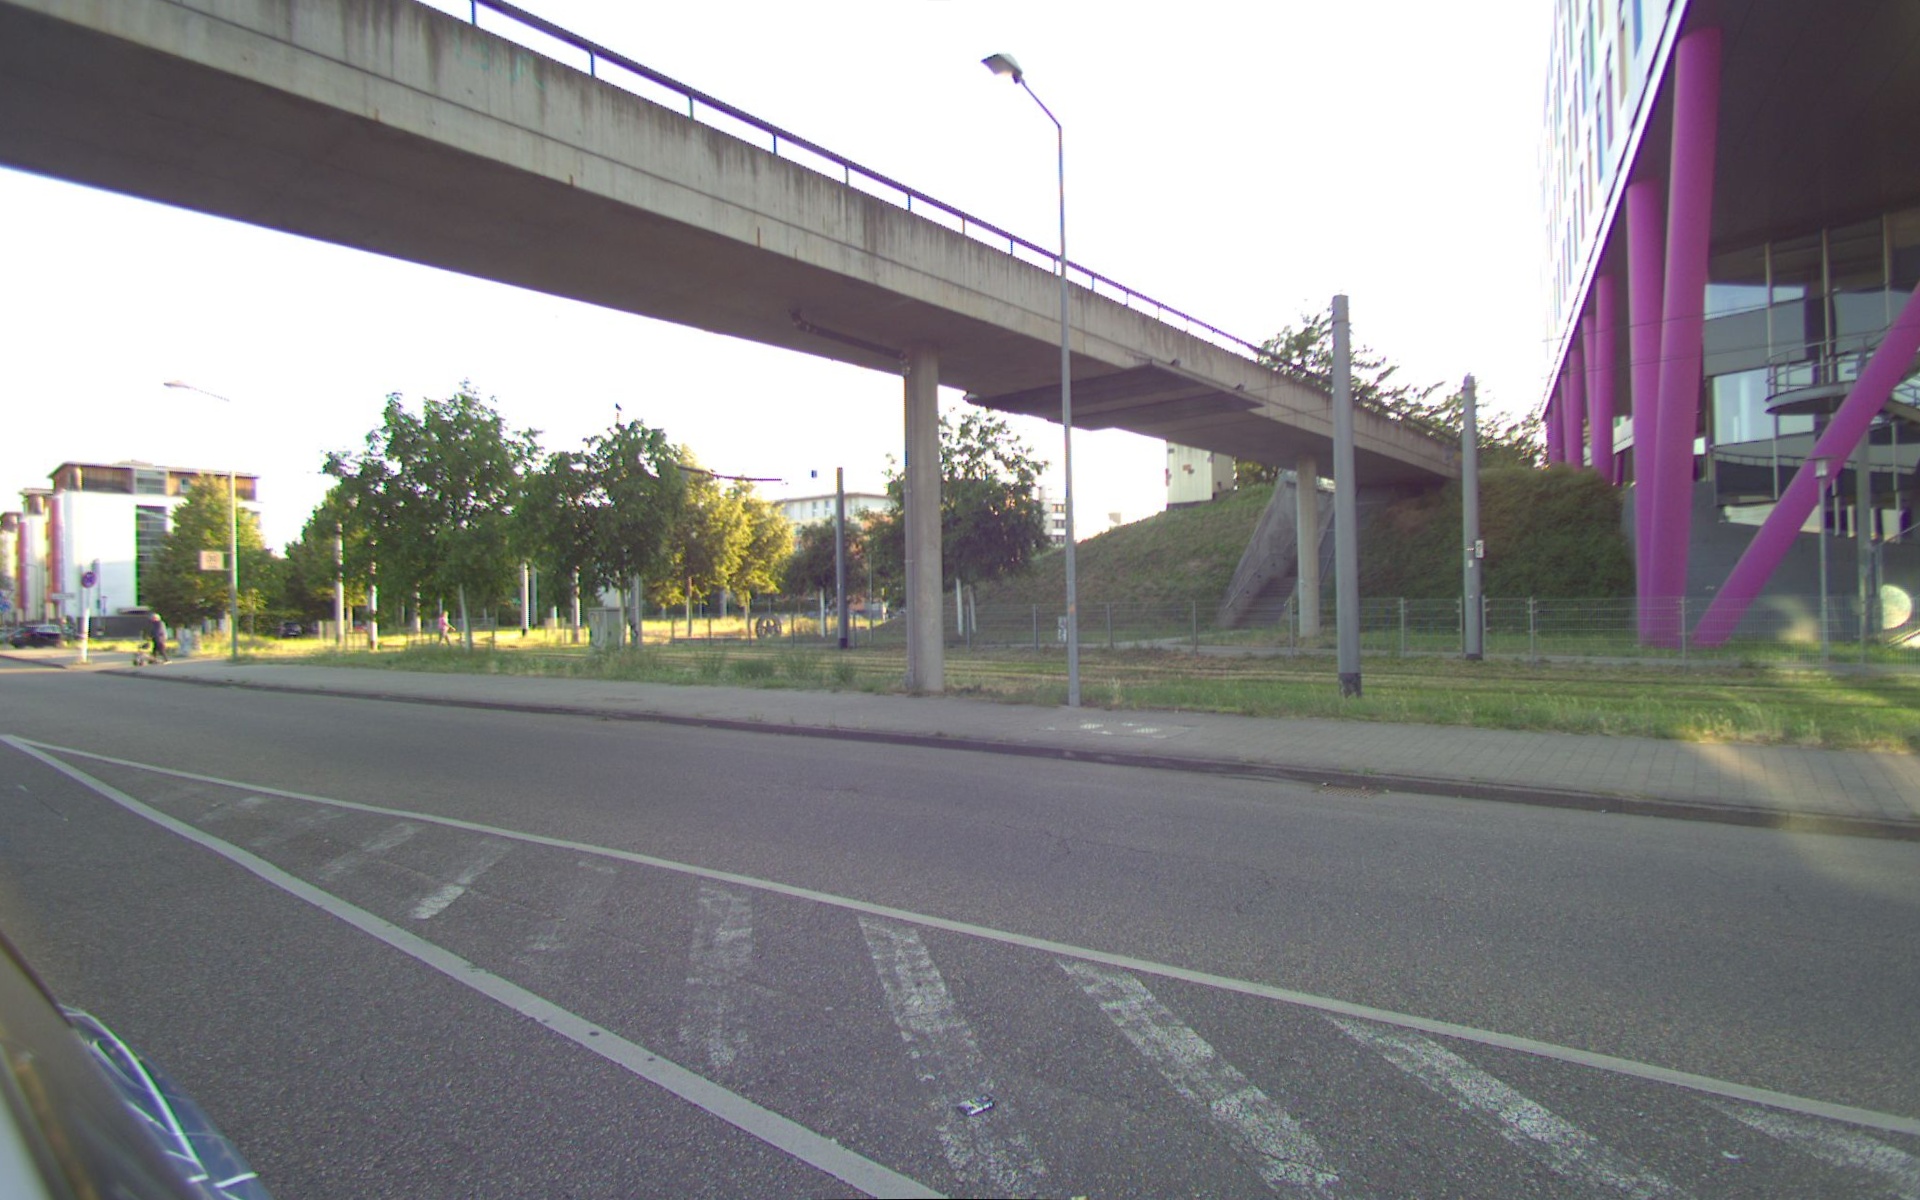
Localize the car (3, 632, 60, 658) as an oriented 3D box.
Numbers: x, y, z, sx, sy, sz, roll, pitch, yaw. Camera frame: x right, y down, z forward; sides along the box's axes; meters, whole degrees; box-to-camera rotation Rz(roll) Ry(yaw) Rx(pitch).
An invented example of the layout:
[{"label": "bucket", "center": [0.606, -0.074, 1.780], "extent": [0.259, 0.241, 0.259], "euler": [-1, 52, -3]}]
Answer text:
[{"label": "car", "center": [-61.847, 2.958, 67.478], "extent": [1.966, 1.575, 4.012], "euler": [-1, -1, -30]}]

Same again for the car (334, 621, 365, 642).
[{"label": "car", "center": [-53.576, 2.757, 88.776], "extent": [1.842, 1.734, 3.853], "euler": [-1, -1, -38]}]

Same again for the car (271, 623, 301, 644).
[{"label": "car", "center": [-57.032, 2.809, 85.591], "extent": [1.842, 1.734, 3.853], "euler": [-1, -1, -38]}]

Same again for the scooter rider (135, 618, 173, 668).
[{"label": "scooter rider", "center": [-26.533, 1.402, 33.319], "extent": [0.711, 1.589, 0.886], "euler": [-2, -1, 42]}]

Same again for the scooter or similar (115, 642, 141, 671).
[{"label": "scooter or similar", "center": [-26.972, 1.813, 32.816], "extent": [0.722, 0.902, 0.545], "euler": [-1, -1, 42]}]

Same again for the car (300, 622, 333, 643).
[{"label": "car", "center": [-55.375, 2.781, 87.051], "extent": [1.843, 1.734, 3.851], "euler": [-1, -1, -40]}]

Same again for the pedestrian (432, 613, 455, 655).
[{"label": "pedestrian", "center": [-20.696, 1.356, 40.557], "extent": [0.767, 1.623, 0.417], "euler": [-1, -1, -38]}]

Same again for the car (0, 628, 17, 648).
[{"label": "car", "center": [-80.763, 3.171, 83.403], "extent": [1.839, 1.571, 4.330], "euler": [-1, 0, 42]}]
